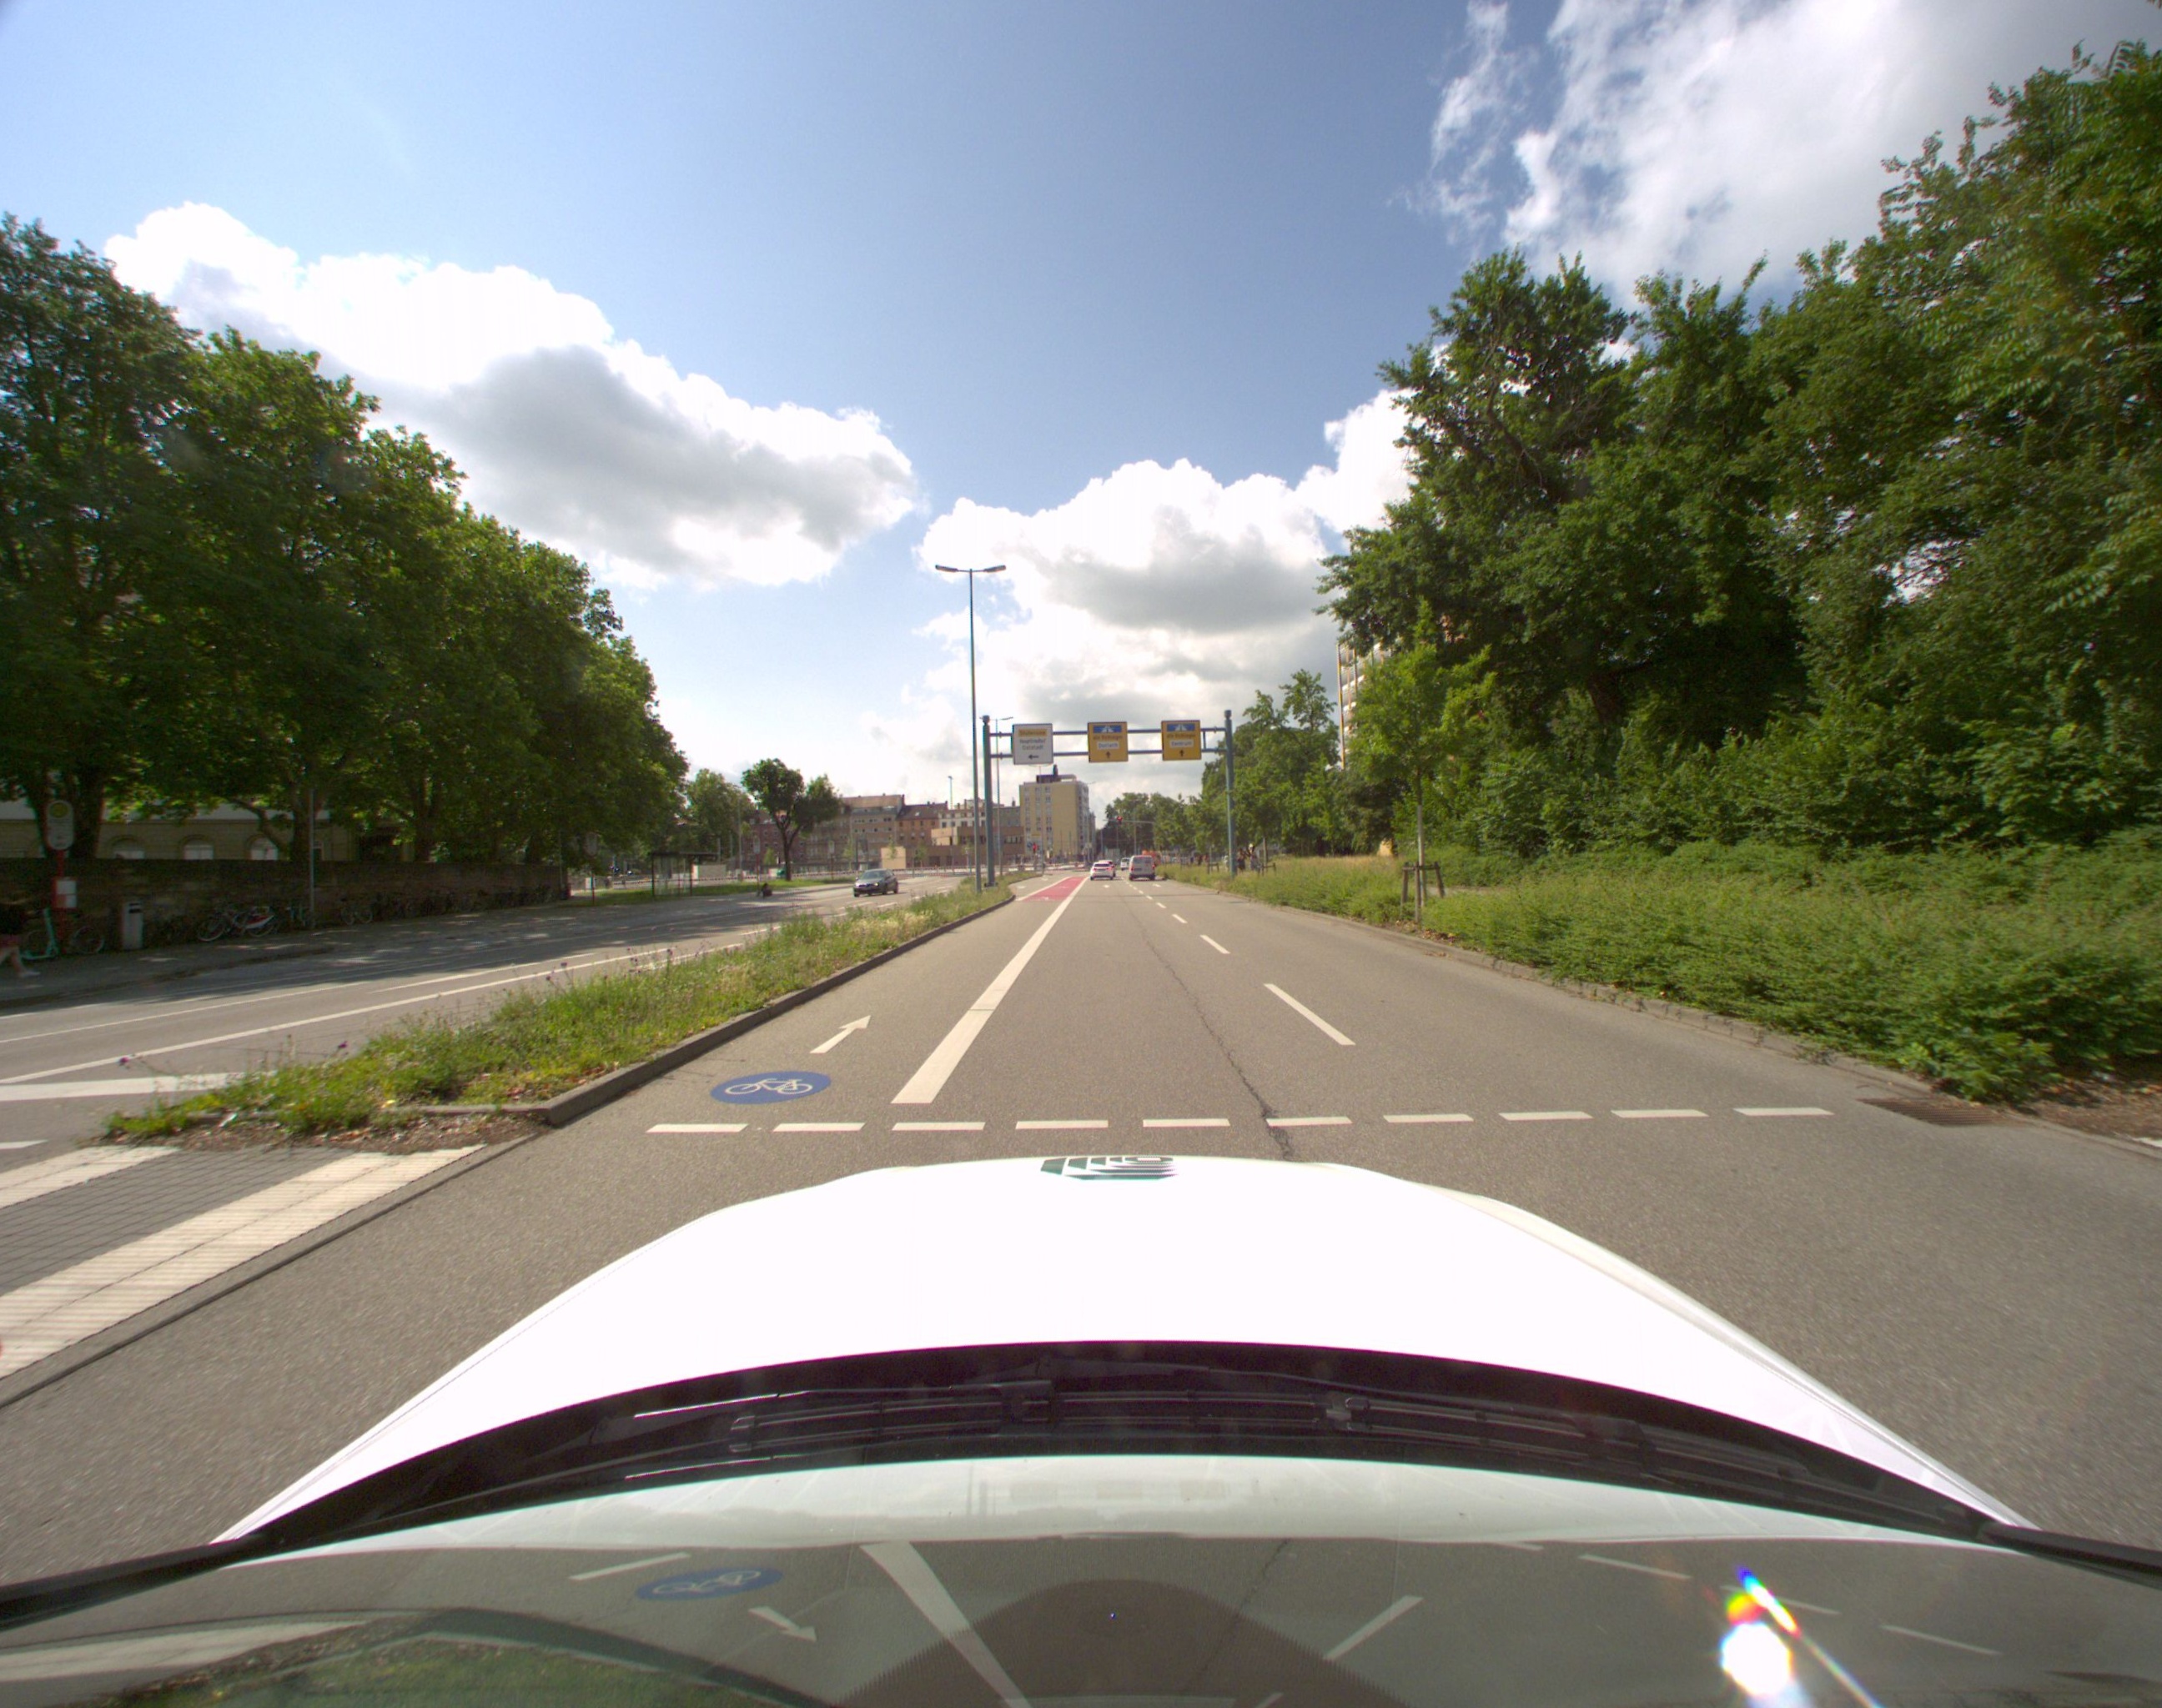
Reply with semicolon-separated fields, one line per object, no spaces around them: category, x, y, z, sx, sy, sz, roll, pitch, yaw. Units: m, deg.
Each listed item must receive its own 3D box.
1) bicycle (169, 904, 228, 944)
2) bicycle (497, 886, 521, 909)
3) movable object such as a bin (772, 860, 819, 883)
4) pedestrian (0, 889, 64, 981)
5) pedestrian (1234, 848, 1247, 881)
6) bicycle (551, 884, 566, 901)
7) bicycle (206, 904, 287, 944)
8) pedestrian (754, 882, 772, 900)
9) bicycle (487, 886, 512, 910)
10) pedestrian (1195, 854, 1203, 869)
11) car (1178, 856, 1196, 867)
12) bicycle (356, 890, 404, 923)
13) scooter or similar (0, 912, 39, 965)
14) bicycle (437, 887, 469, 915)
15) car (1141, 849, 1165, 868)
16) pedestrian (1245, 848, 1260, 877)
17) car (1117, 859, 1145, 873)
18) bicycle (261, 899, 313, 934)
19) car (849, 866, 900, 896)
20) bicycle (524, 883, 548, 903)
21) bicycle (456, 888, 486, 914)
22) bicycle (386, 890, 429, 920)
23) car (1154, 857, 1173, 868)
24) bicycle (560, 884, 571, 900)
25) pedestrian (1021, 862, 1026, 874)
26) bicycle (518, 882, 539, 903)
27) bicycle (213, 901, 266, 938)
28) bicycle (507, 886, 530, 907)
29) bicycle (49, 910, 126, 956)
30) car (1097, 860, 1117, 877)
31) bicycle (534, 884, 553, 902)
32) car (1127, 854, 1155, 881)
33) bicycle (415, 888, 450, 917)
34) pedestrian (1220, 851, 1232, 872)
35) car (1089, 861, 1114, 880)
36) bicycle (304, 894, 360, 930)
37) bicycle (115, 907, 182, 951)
bicycle;-23.662;1.851;21.854;0.367;0.955;1.395;-2;0;-15
bicycle;-29.215;2.222;41.625;0.584;1.073;1.620;-2;0;-21
movable object such as a bin;-38.820;2.341;110.837;2.259;2.885;5.575;-3;-1;44
pedestrian;-19.454;1.466;14.935;0.655;1.610;0.743;-1;-1;-7
pedestrian;8.841;0.560;45.189;0.565;1.802;0.639;-2;-1;1
bicycle;-33.678;2.482;52.474;0.472;1.011;1.446;-2;0;-20
bicycle;-22.895;1.902;22.376;0.364;0.955;1.629;-2;0;10
pedestrian;-18.341;2.127;47.001;0.692;0.963;0.743;-1;-1;-1
bicycle;-28.608;2.162;40.072;0.584;1.073;1.620;-2;0;-21
pedestrian;13.778;0.829;95.152;0.739;1.735;0.680;-2;-1;5
car;19.861;1.389;152.709;1.975;1.826;4.024;-3;-1;27
bicycle;-25.252;1.886;29.358;0.583;1.073;1.747;-2;0;-15
scooter or similar;-22.611;1.768;16.567;0.580;1.048;1.875;-2;0;-9
bicycle;-26.719;1.989;34.673;0.584;1.073;1.743;-2;0;-21
car;10.934;0.650;123.292;2.110;2.781;4.665;-3;-1;25
pedestrian;9.560;0.473;45.375;0.621;1.581;0.708;-2;-1;1
car;6.946;1.616;112.071;1.974;1.816;4.025;0;-1;35
bicycle;-24.254;1.882;24.897;0.370;0.955;1.619;-2;0;-15
car;-11.504;1.481;45.643;1.695;1.445;4.145;-3;0;0
bicycle;-31.151;2.200;46.604;0.583;1.073;1.859;-2;0;-16
bicycle;-27.357;2.105;36.553;0.584;1.073;1.743;-2;0;-21
bicycle;-25.742;1.934;31.151;0.583;1.073;1.746;-2;0;-16
car;15.439;1.529;152.629;1.987;1.967;4.665;-3;-1;25
bicycle;-34.922;2.572;55.184;0.353;1.011;1.246;-2;0;-20
pedestrian;-8.295;2.057;118.086;0.521;1.733;0.625;-2;-1;11
bicycle;-30.435;2.099;44.856;0.584;1.073;1.620;-2;0;-21
bicycle;-24.027;1.849;23.273;0.367;0.955;1.395;-2;0;-15
bicycle;-29.820;2.239;43.195;0.584;1.073;1.620;-2;0;-21
bicycle;-23.069;1.819;18.939;0.367;0.955;1.395;-2;0;-15
car;2.357;1.294;74.123;1.784;1.539;4.013;0;0;2
bicycle;-31.959;2.304;48.432;0.472;1.011;1.951;-2;0;-20
car;4.556;1.010;62.323;1.935;1.870;4.827;-2;0;2
bicycle;-26.225;1.964;32.941;0.584;1.073;1.743;-2;0;-21
pedestrian;11.718;0.582;65.908;0.864;1.638;0.721;-2;-1;3
car;1.707;1.295;65.456;1.896;1.424;4.387;-2;0;2
bicycle;-24.632;1.896;26.817;0.583;1.073;1.747;-2;0;-15
bicycle;-23.390;1.865;20.448;0.367;0.955;1.395;-2;0;-15
